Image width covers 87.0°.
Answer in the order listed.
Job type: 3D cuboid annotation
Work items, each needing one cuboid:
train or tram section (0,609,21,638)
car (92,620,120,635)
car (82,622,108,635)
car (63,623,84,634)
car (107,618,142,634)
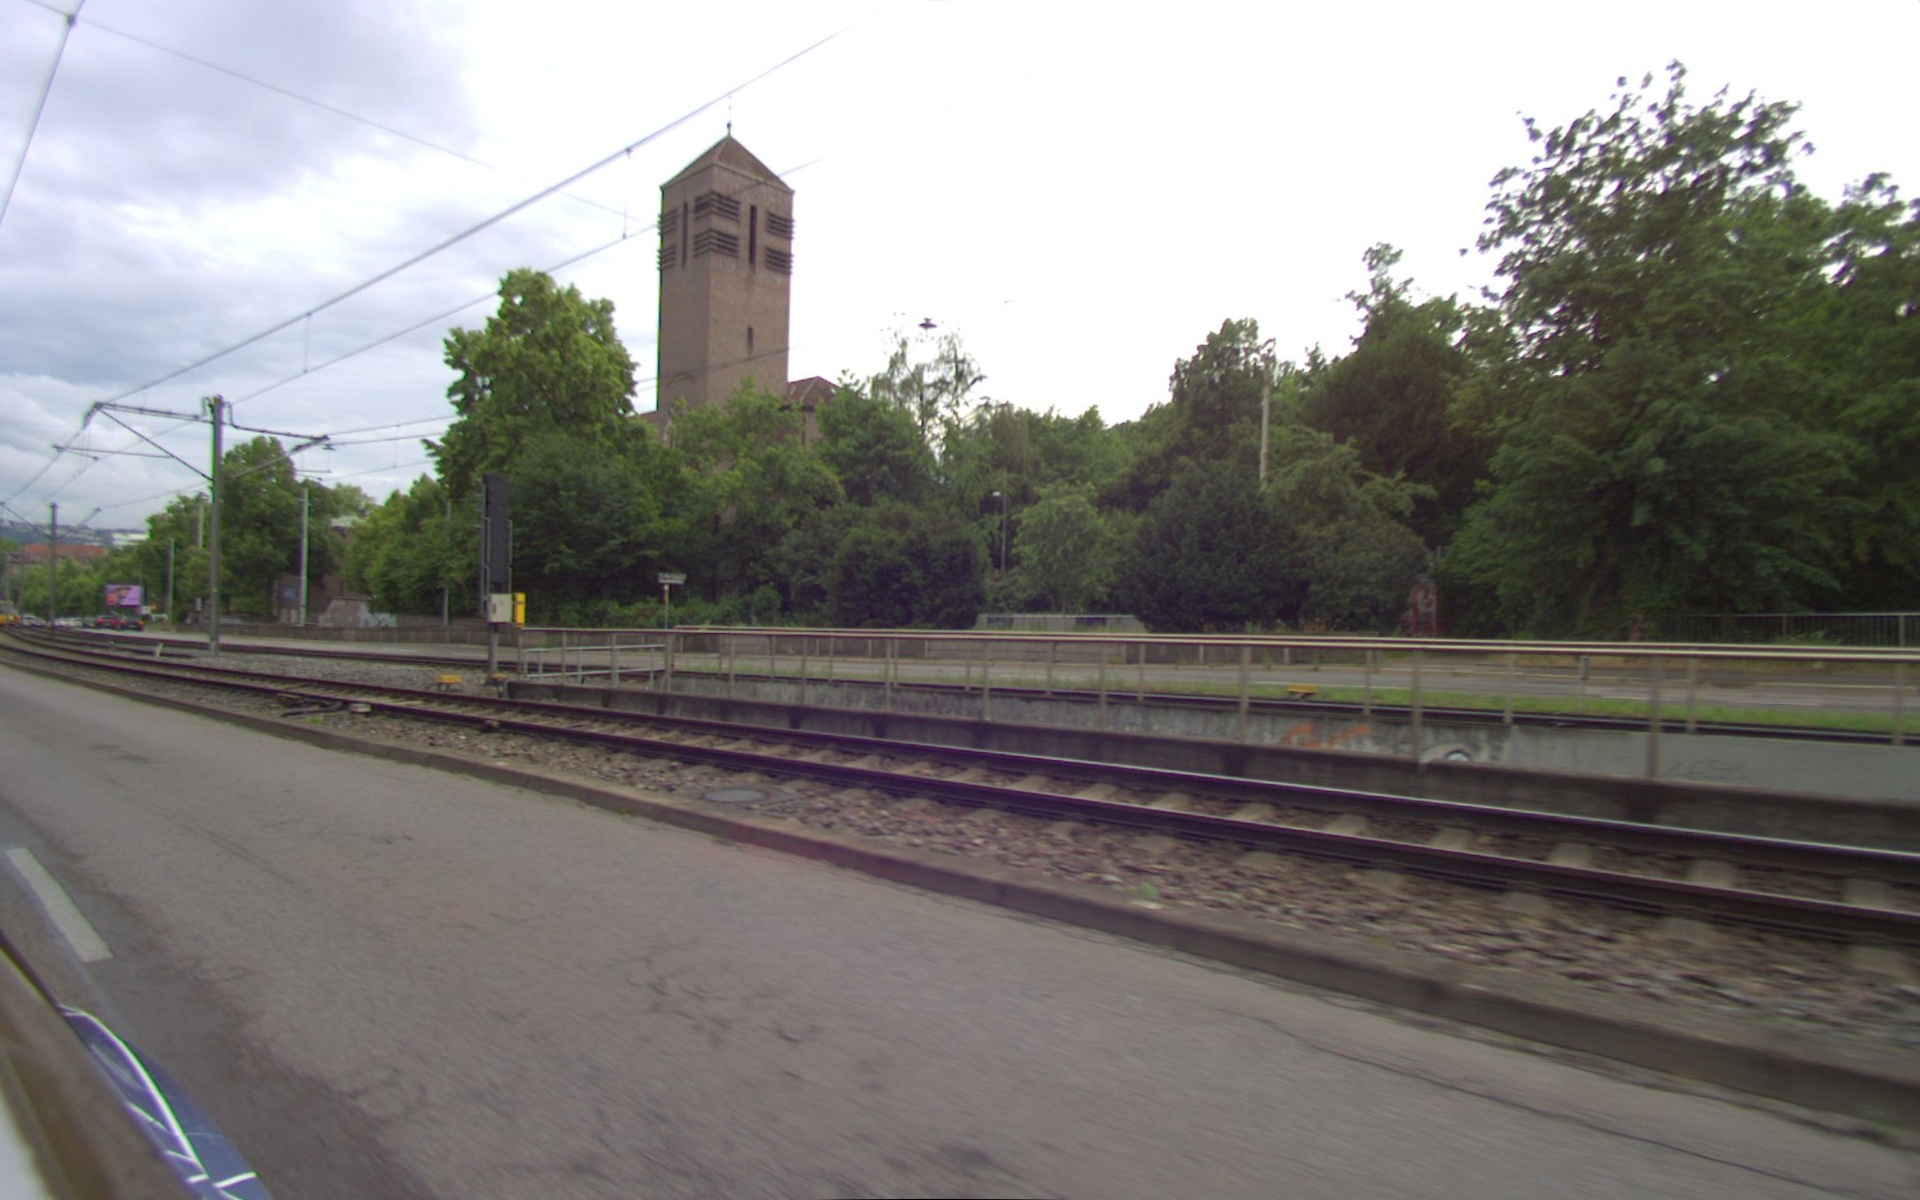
[{"bbox_3d":[-138.498,3.417,146.630,17.884,4.006,2.796,-2,-2,45],"label":"train or tram section"},{"bbox_3d":[-98.300,3.201,116.485,4.525,1.656,1.971,-1,-3,43],"label":"car"},{"bbox_3d":[-109.046,3.583,127.622,4.412,1.656,1.971,-1,-3,43],"label":"car"},{"bbox_3d":[-122.375,3.942,139.735,3.985,1.479,1.727,-2,-5,43],"label":"car"},{"bbox_3d":[-80.325,2.496,97.318,4.320,1.452,1.944,-1,-3,42],"label":"car"}]
